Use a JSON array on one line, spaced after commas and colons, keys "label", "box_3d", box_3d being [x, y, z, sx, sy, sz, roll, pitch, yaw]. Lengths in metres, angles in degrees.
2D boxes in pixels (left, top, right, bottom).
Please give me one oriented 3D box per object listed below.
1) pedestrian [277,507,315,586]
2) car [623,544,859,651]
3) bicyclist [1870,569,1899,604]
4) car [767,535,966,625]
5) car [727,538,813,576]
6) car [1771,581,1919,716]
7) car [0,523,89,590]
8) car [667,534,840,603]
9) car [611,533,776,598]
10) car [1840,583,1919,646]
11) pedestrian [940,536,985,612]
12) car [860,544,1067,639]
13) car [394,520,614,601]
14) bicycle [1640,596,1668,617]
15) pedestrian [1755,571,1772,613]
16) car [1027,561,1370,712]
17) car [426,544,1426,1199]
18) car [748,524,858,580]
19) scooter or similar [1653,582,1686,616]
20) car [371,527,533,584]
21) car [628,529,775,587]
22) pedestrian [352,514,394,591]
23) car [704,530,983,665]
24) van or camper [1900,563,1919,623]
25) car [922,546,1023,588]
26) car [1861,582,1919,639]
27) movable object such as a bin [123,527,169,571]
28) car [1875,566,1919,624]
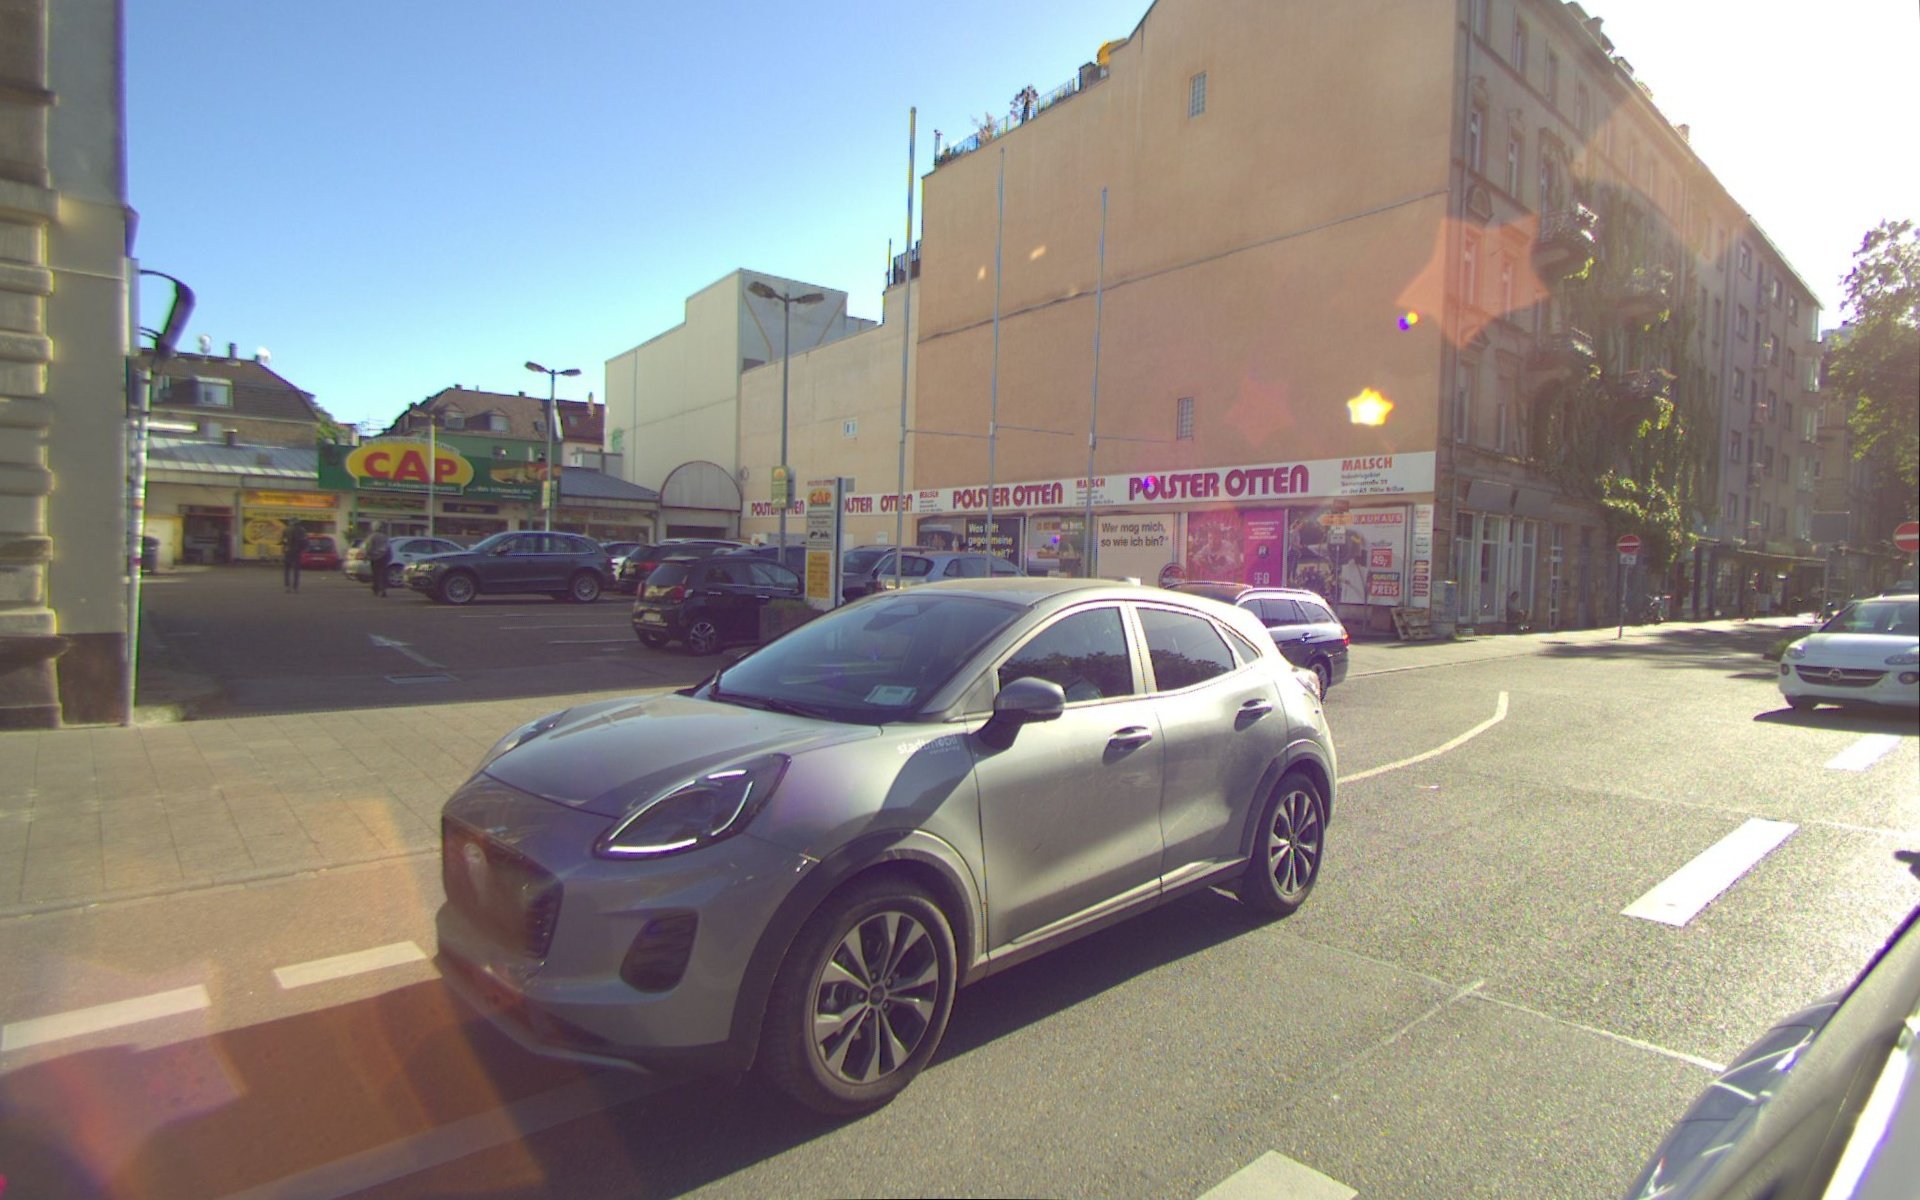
[{"label": "pedestrian", "box_3d": [-16.143, -1.298, 24.602, 0.748, 1.864, 0.748, 0, 2, -36]}, {"label": "car", "box_3d": [-3.382, -0.087, 15.966, 3.340, 1.504, 1.559, -1, 3, -45]}, {"label": "bicyclist", "box_3d": [39.242, -0.578, 42.966, 0.934, 1.479, 0.746, -1, 2, -39]}, {"label": "car", "box_3d": [-1.889, -0.439, 21.223, 3.934, 1.714, 1.747, -1, 3, -44]}, {"label": "car", "box_3d": [-9.718, -2.186, 51.837, 3.967, 1.823, 1.664, 0, 2, -30]}, {"label": "car", "box_3d": [12.154, 0.519, 12.691, 3.703, 1.472, 1.611, -1, 1, -25]}, {"label": "car", "box_3d": [-21.927, -0.987, 22.446, 3.931, 1.482, 1.758, -1, 3, -41]}, {"label": "car", "box_3d": [-4.949, -0.762, 24.558, 3.871, 1.563, 1.544, -1, 3, -42]}, {"label": "car", "box_3d": [-6.869, -0.881, 26.299, 3.871, 1.563, 1.544, -1, 3, -42]}, {"label": "car", "box_3d": [24.125, 0.328, 26.193, 3.933, 1.536, 1.642, -1, 0, -43]}, {"label": "pedestrian", "box_3d": [0.068, -0.714, 27.633, 0.907, 2.038, 0.818, 0, 2, -41]}, {"label": "car", "box_3d": [0.151, -0.208, 19.647, 3.935, 1.665, 1.746, -1, 3, -45]}, {"label": "car", "box_3d": [-10.400, -0.885, 23.273, 4.306, 1.686, 1.757, -1, 3, -41]}, {"label": "bicycle", "box_3d": [24.931, 0.223, 36.359, 1.486, 0.714, 0.469, 0, 2, -41]}, {"label": "pedestrian", "box_3d": [36.000, -0.372, 45.336, 0.507, 1.855, 0.469, 0, 2, -41]}, {"label": "car", "box_3d": [3.200, 0.347, 13.023, 4.650, 1.504, 1.838, -1, 5, -40]}, {"label": "car", "box_3d": [0.283, 0.606, 4.377, 4.308, 1.547, 1.699, -1, 2, -44]}, {"label": "car", "box_3d": [-7.325, -2.227, 47.338, 4.789, 2.441, 1.712, 0, 2, -34]}, {"label": "scooter or similar", "box_3d": [26.345, -0.042, 37.599, 0.631, 1.188, 1.720, 2, 2, 24]}, {"label": "car", "box_3d": [-14.754, -1.272, 29.504, 3.931, 1.537, 1.725, 0, 3, -41]}, {"label": "car", "box_3d": [-7.537, -1.212, 29.707, 3.871, 1.600, 1.659, -1, 3, -42]}, {"label": "pedestrian", "box_3d": [-13.833, -1.123, 23.866, 0.746, 1.777, 0.514, 1, 2, -18]}, {"label": "car", "box_3d": [-1.603, -0.149, 14.765, 3.841, 1.664, 1.652, -3, 7, -45]}, {"label": "van or camper", "box_3d": [35.229, -0.232, 36.196, 5.007, 2.038, 1.887, -1, 3, -42]}, {"label": "car", "box_3d": [0.487, -1.264, 37.972, 3.580, 1.481, 1.680, -2, 4, -39]}, {"label": "car", "box_3d": [27.360, 0.262, 29.138, 3.933, 1.536, 1.740, -1, 0, -43]}, {"label": "movable object such as a bin", "box_3d": [-29.162, -1.821, 36.268, 1.256, 1.526, 1.176, 0, 2, -39]}, {"label": "car", "box_3d": [31.128, -0.157, 32.639, 3.930, 1.785, 1.868, -1, 3, -41]}]
